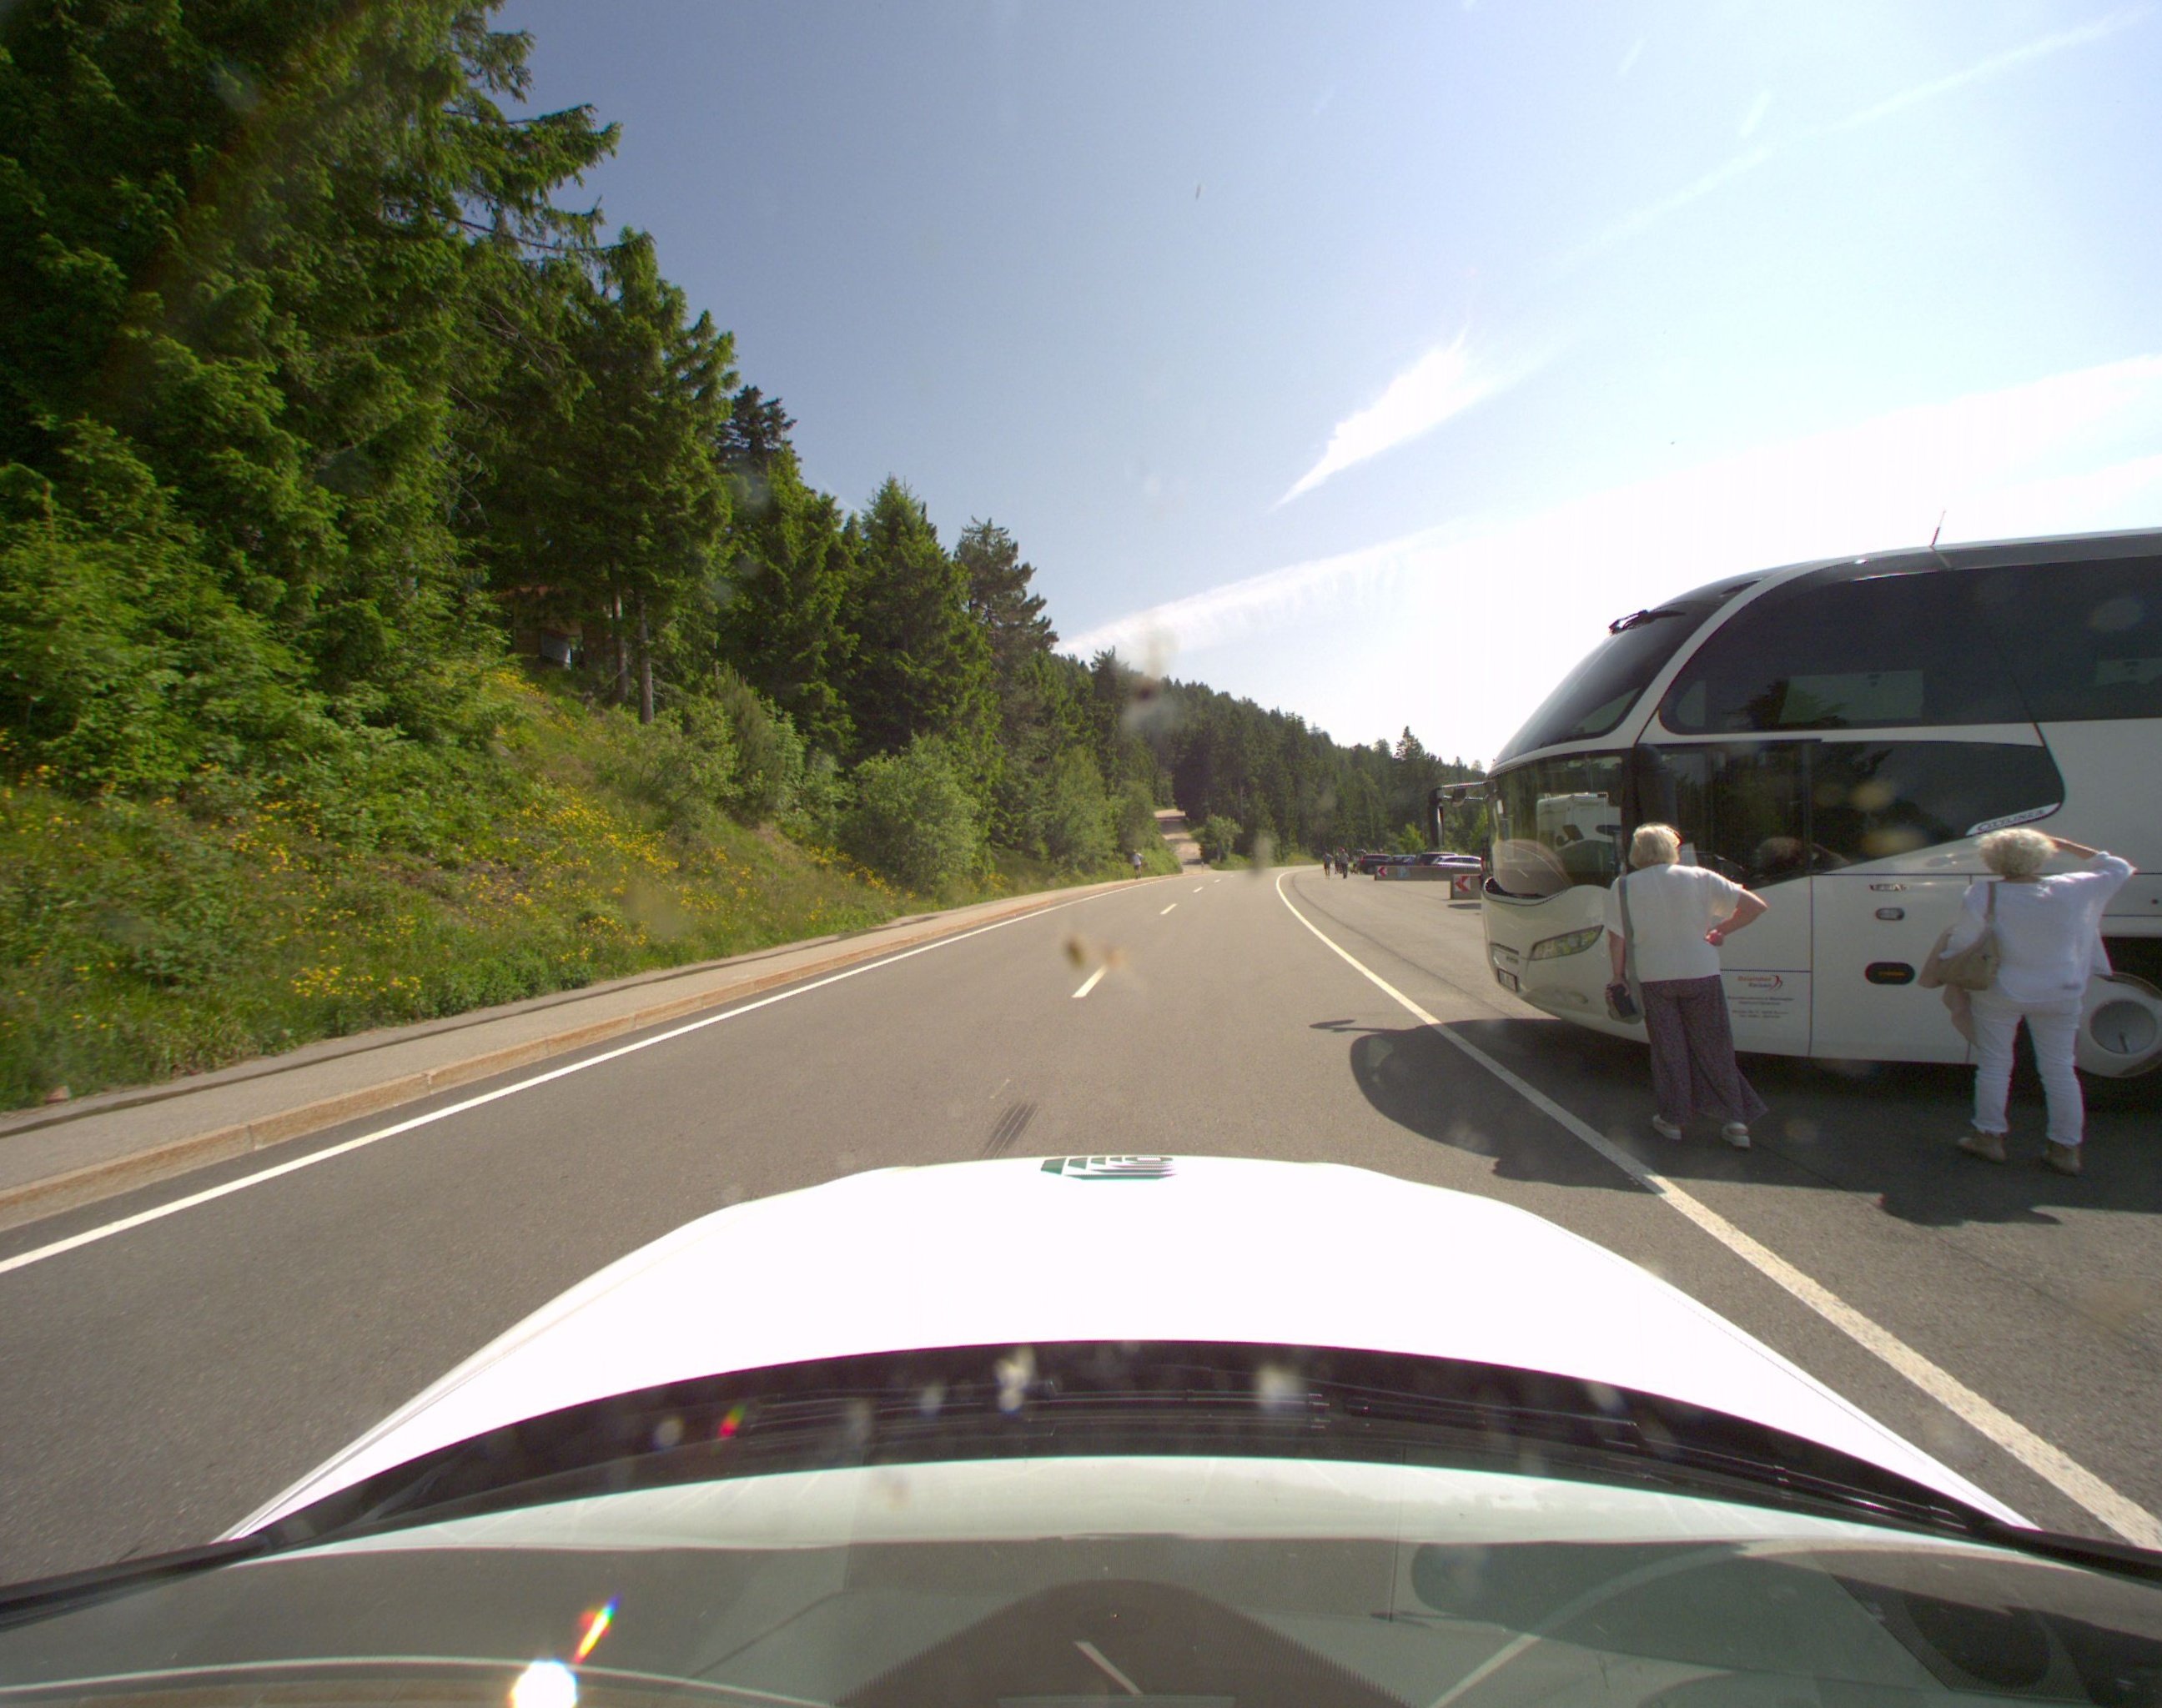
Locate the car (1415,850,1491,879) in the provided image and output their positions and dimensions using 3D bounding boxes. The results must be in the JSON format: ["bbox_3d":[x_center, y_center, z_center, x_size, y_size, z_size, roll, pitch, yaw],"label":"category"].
[{"bbox_3d":[22.789,0.616,49.988,3.963,1.647,1.604,1,0,9],"label":"car"}]

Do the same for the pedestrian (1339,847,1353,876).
[{"bbox_3d":[16.139,0.478,49.599,0.658,1.741,0.899,-1,0,26],"label":"pedestrian"}]

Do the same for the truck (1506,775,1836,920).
[{"bbox_3d":[14.144,-0.108,20.033,6.025,3.196,2.540,-1,-1,10],"label":"truck"}]

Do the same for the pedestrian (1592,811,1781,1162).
[{"bbox_3d":[3.181,0.627,4.333,0.700,1.643,0.749,-2,-1,35],"label":"pedestrian"}]

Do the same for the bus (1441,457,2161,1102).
[{"bbox_3d":[9.457,-0.497,5.188,12.756,3.577,2.849,-1,0,13],"label":"bus"}]

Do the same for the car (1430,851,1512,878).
[{"bbox_3d":[22.542,0.585,47.204,3.962,1.476,1.778,1,0,10],"label":"car"}]

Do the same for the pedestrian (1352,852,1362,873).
[{"bbox_3d":[23.434,0.721,69.117,0.646,1.660,0.692,-2,1,26],"label":"pedestrian"}]

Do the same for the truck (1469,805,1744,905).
[{"bbox_3d":[14.820,0.054,23.438,6.218,2.590,2.348,-1,0,12],"label":"truck"}]

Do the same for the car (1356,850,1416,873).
[{"bbox_3d":[24.306,0.632,65.051,4.237,1.794,1.897,0,-1,10],"label":"car"}]

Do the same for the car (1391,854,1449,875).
[{"bbox_3d":[25.807,0.794,62.071,3.732,1.567,1.603,-1,0,7],"label":"car"}]

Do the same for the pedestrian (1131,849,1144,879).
[{"bbox_3d":[3.340,0.561,47.838,0.678,1.746,0.827,-1,0,8],"label":"pedestrian"}]

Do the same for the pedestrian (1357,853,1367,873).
[{"bbox_3d":[23.484,0.766,68.011,0.611,1.587,0.740,-2,1,32],"label":"pedestrian"}]

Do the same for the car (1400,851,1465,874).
[{"bbox_3d":[25.187,0.593,58.521,3.963,1.535,1.812,-1,3,9],"label":"car"}]

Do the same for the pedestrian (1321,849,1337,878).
[{"bbox_3d":[15.254,0.573,50.076,0.747,1.760,0.780,-1,0,26],"label":"pedestrian"}]

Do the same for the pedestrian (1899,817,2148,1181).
[{"bbox_3d":[4.623,0.633,4.060,0.638,1.596,0.749,-2,0,38],"label":"pedestrian"}]
